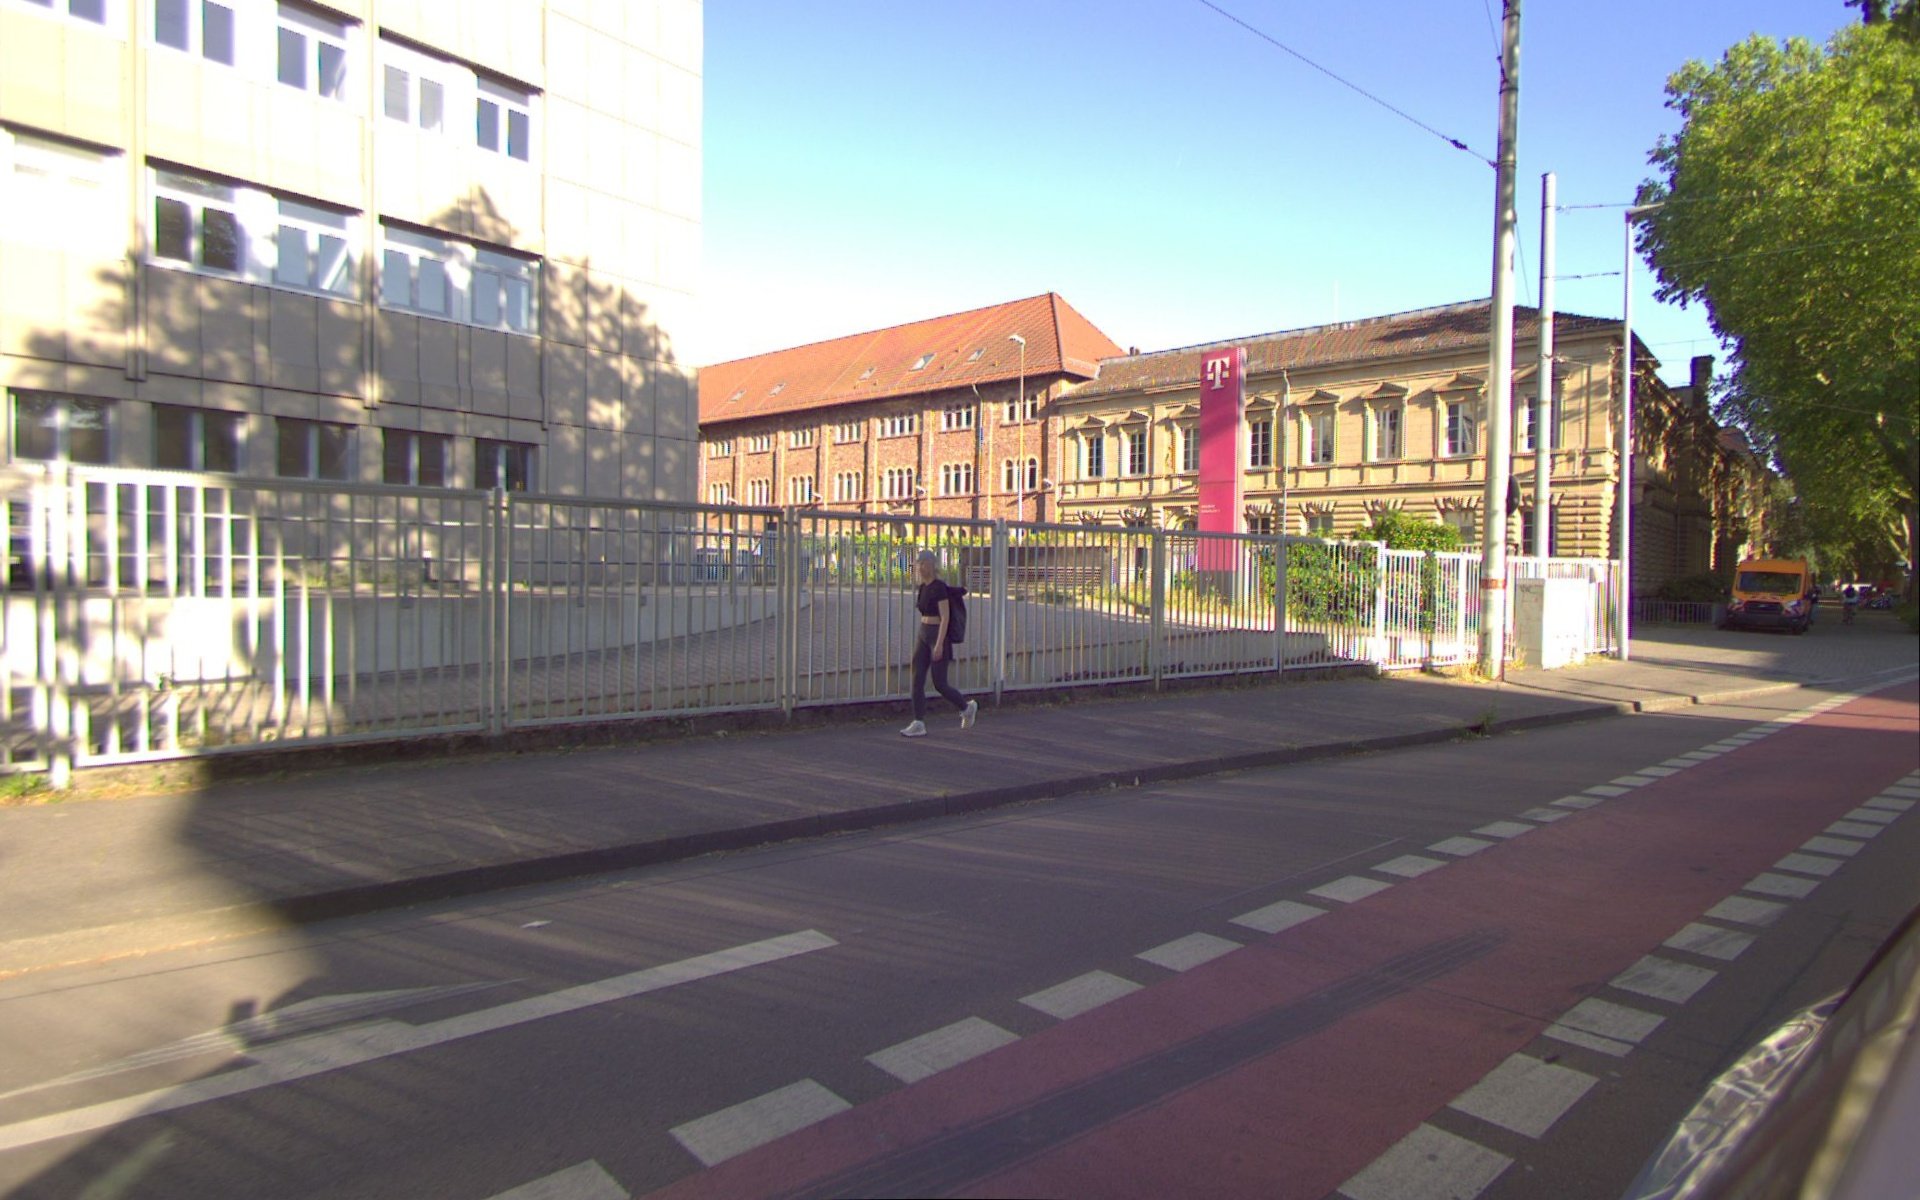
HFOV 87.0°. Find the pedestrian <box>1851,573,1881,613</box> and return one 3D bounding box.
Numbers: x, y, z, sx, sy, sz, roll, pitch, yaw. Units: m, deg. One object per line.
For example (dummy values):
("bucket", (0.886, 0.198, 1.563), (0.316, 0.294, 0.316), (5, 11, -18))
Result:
("pedestrian", (38.875, -0.325, 43.436), (0.666, 1.638, 1.090), (4, 3, 30))

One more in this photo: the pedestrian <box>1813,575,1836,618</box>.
("pedestrian", (35.907, -0.168, 42.042), (0.650, 1.757, 0.992), (2, 2, 42))

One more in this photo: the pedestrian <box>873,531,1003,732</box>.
("pedestrian", (-0.198, 0.254, 9.136), (0.914, 1.705, 0.697), (0, 2, -39))

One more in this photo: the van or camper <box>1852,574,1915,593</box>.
("van or camper", (123.248, -2.211, 135.175), (6.083, 2.461, 2.391), (3, 2, 43))

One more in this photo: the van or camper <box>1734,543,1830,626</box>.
("van or camper", (27.941, -0.554, 34.327), (2.036, 2.591, 5.682), (2, 2, 44))

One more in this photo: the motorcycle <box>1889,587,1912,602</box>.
("motorcycle", (70.566, -0.403, 75.937), (1.249, 1.067, 0.394), (1, 1, 6))

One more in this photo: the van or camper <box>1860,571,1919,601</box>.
("van or camper", (84.398, -1.266, 90.399), (5.906, 2.527, 2.190), (2, 5, 41))

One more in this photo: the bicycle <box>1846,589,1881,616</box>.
("bicycle", (38.954, 0.101, 43.654), (0.671, 1.044, 1.881), (4, 4, 29))

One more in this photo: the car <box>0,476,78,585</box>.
("car", (-16.800, -1.174, 17.433), (4.250, 1.739, 1.963), (3, 2, 42))
